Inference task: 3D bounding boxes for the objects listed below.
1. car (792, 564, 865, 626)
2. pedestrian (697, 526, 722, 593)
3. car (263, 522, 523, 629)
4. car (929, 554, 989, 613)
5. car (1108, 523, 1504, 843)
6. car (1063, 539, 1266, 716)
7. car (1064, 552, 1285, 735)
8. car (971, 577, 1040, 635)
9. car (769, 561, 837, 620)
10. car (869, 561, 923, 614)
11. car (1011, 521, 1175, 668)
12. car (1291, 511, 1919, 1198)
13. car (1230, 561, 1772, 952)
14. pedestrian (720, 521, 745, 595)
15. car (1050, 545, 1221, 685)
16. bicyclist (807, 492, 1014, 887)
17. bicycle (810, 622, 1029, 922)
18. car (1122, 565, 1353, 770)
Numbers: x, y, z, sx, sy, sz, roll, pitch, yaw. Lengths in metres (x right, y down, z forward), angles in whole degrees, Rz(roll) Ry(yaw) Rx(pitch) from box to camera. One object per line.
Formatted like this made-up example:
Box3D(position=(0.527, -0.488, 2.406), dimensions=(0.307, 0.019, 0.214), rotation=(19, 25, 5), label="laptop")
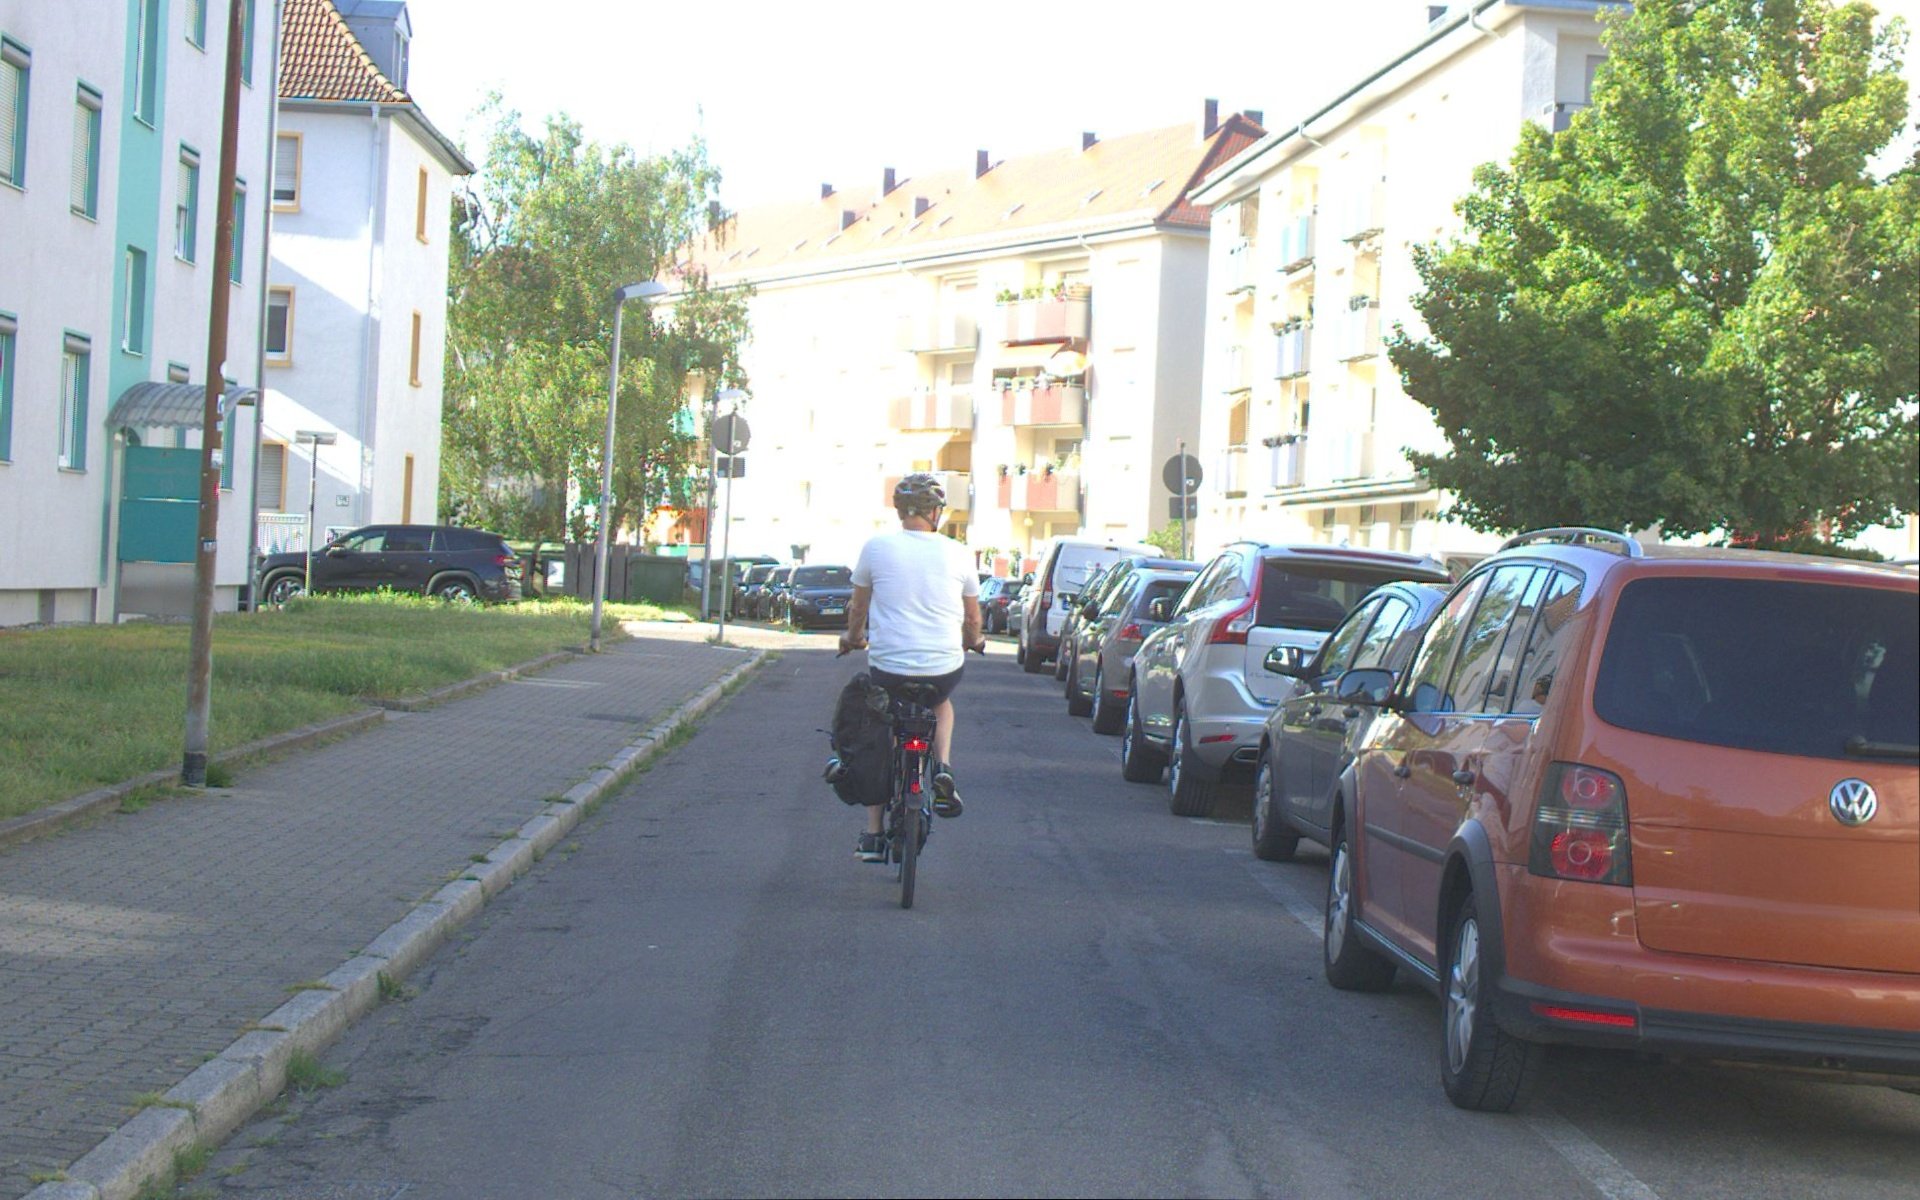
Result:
Box3D(position=(-2.999, -0.134, 77.886), dimensions=(1.469, 1.331, 3.141), rotation=(-1, 1, -5), label="car")
Box3D(position=(-5.394, -0.873, 74.031), dimensions=(0.434, 1.422, 0.543), rotation=(2, 1, -1), label="pedestrian")
Box3D(position=(-9.709, -0.430, 59.046), dimensions=(4.230, 1.633, 1.583), rotation=(2, 1, -5), label="car")
Box3D(position=(-0.040, -0.471, 94.465), dimensions=(1.381, 1.492, 3.077), rotation=(4, 1, -3), label="car")
Box3D(position=(2.025, 0.417, 21.381), dimensions=(1.700, 1.665, 4.380), rotation=(4, 1, -3), label="car")
Box3D(position=(1.993, 0.232, 34.337), dimensions=(1.558, 1.571, 3.367), rotation=(4, 1, -3), label="car")
Box3D(position=(1.847, 0.339, 30.635), dimensions=(1.559, 1.406, 3.934), rotation=(4, 1, -1), label="car")
Box3D(position=(1.134, 0.140, 87.500), dimensions=(1.469, 1.331, 3.141), rotation=(4, 1, -3), label="car")
Box3D(position=(-3.768, -0.234, 82.248), dimensions=(1.469, 1.331, 3.141), rotation=(-1, 1, -5), label="car")
Box3D(position=(-2.000, -0.399, 107.030), dimensions=(1.469, 1.511, 3.077), rotation=(4, 1, -3), label="car")
Box3D(position=(1.687, -0.112, 44.888), dimensions=(1.674, 1.733, 3.943), rotation=(4, 1, -3), label="car")
Box3D(position=(2.273, 0.646, 10.797), dimensions=(1.862, 1.662, 4.127), rotation=(5, 1, -1), label="car")
Box3D(position=(2.411, 0.634, 16.257), dimensions=(1.617, 1.455, 3.842), rotation=(5, 1, -4), label="car")
Box3D(position=(-4.893, -0.913, 73.968), dimensions=(0.434, 1.569, 0.543), rotation=(2, 1, -1), label="pedestrian")
Box3D(position=(2.013, 0.143, 40.178), dimensions=(1.558, 1.448, 3.367), rotation=(4, 1, -3), label="car")
Box3D(position=(-0.227, 0.369, 14.900), dimensions=(0.808, 1.638, 0.899), rotation=(2, 1, -3), label="bicyclist")
Box3D(position=(-0.207, 0.695, 14.796), dimensions=(0.808, 1.124, 2.102), rotation=(2, 1, -3), label="bicycle")
Box3D(position=(2.105, 0.479, 26.783), dimensions=(1.391, 1.398, 3.244), rotation=(3, 1, -1), label="car")
